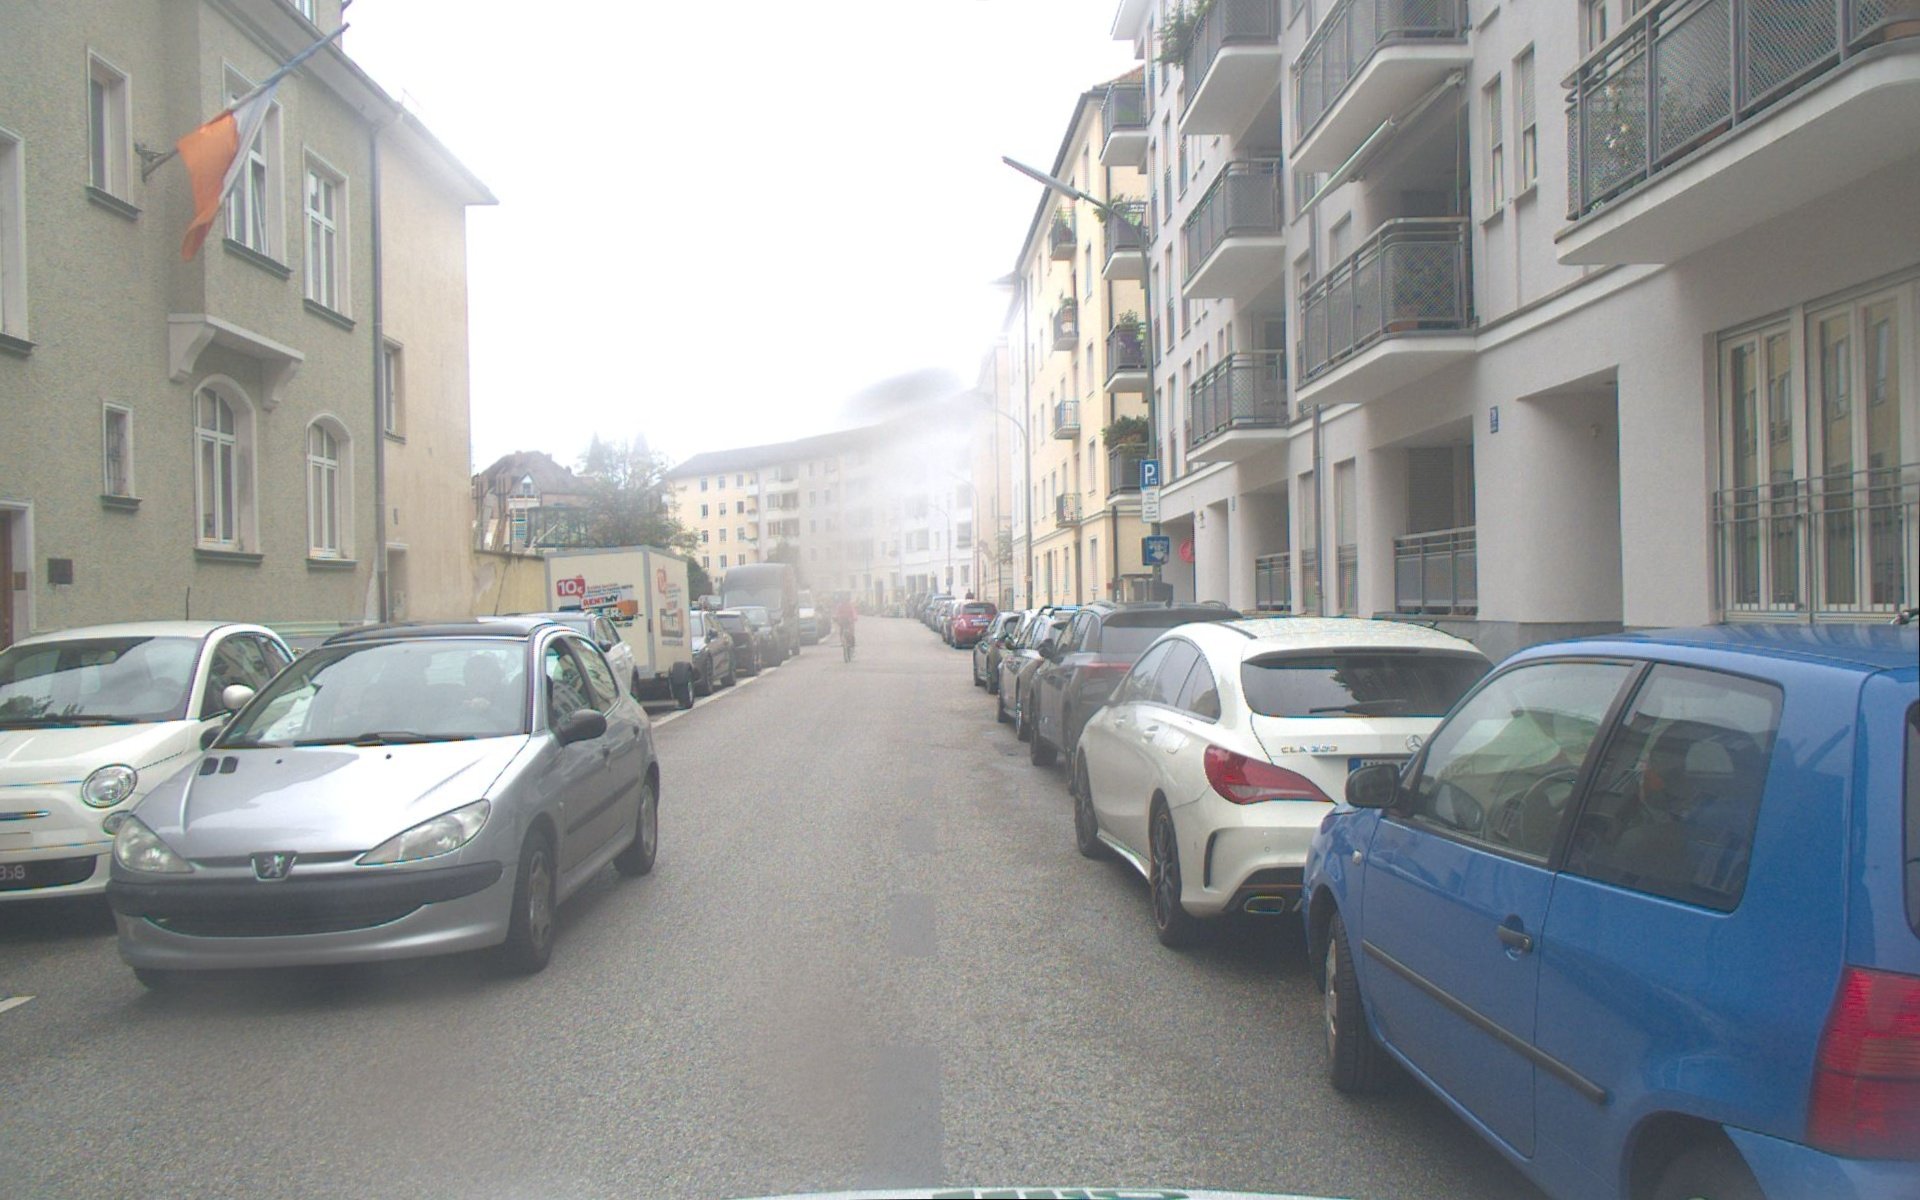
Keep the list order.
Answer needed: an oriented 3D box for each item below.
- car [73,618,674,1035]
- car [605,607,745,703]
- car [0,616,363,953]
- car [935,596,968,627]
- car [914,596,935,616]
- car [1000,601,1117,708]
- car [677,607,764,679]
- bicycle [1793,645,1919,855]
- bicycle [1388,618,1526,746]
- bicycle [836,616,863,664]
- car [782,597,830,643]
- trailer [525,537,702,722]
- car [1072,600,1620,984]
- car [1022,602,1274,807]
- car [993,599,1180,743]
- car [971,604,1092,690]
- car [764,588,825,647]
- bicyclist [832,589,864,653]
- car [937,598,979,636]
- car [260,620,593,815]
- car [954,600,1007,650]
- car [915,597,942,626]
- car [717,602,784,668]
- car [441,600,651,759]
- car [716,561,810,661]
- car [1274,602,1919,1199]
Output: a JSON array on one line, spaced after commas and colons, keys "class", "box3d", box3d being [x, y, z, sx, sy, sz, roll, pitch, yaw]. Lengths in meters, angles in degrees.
[{"class": "car", "box3d": [-2.414, 0.827, 7.738, 1.549, 1.436, 3.611, -2, -1, -1]}, {"class": "car", "box3d": [-5.252, 0.971, 31.034, 1.730, 1.565, 4.541, -3, 0, 1]}, {"class": "car", "box3d": [-4.621, 0.887, 9.280, 1.444, 1.492, 3.311, -3, 0, -3]}, {"class": "car", "box3d": [-0.457, 0.607, 89.315, 1.559, 1.610, 4.296, 0, 0, -3]}, {"class": "car", "box3d": [-2.392, 0.418, 110.997, 1.247, 1.321, 2.795, -1, 0, -4]}, {"class": "car", "box3d": [1.499, 0.806, 26.151, 1.489, 1.557, 3.524, 0, 0, -3]}, {"class": "car", "box3d": [-5.383, 0.923, 37.575, 1.667, 1.471, 3.821, 0, 1, -4]}, {"class": "bicycle", "box3d": [5.164, 0.763, 8.576, 0.664, 1.046, 1.833, -1, -2, -3]}, {"class": "bicycle", "box3d": [5.043, 0.800, 16.931, 0.615, 1.180, 2.126, -2, 0, -4]}, {"class": "bicycle", "box3d": [-2.836, 1.009, 42.487, 0.494, 1.148, 1.773, -2, 0, 1]}, {"class": "car", "box3d": [-6.238, 0.790, 67.356, 1.668, 1.720, 4.025, -3, 1, -3]}, {"class": "trailer", "box3d": [-5.185, 0.400, 25.320, 1.674, 2.504, 4.386, -3, 0, 0]}, {"class": "car", "box3d": [1.652, 0.753, 8.534, 1.625, 1.465, 4.204, 1, 0, -3]}, {"class": "car", "box3d": [1.536, 0.816, 14.795, 1.572, 1.557, 3.981, 1, 0, -3]}, {"class": "car", "box3d": [1.449, 0.782, 20.584, 1.699, 1.557, 4.618, 1, 0, -3]}, {"class": "car", "box3d": [1.241, 0.816, 30.273, 1.728, 1.432, 4.074, -1, 0, -5]}, {"class": "car", "box3d": [-6.002, 0.611, 60.382, 1.845, 1.965, 4.599, -3, 1, -2]}, {"class": "bicyclist", "box3d": [-2.873, 0.536, 42.454, 0.680, 1.589, 0.967, -2, 0, 1]}, {"class": "car", "box3d": [-0.103, 0.684, 70.027, 1.567, 1.517, 3.797, -1, 1, -3]}, {"class": "car", "box3d": [-4.704, 0.956, 15.277, 1.824, 1.437, 4.330, -3, -1, -3]}, {"class": "car", "box3d": [0.638, 0.785, 54.195, 1.563, 1.535, 3.799, -1, 0, -2]}, {"class": "car", "box3d": [-1.897, 0.652, 99.274, 1.444, 1.669, 3.998, 0, 0, -3]}, {"class": "car", "box3d": [-5.342, 0.888, 42.549, 1.555, 1.565, 3.539, -2, -1, -6]}, {"class": "car", "box3d": [-4.890, 0.865, 20.031, 1.653, 1.631, 3.919, -3, 0, -3]}, {"class": "car", "box3d": [-5.596, 0.274, 47.707, 2.045, 2.682, 5.376, -1, 1, 0]}, {"class": "car", "box3d": [2.024, 0.749, 4.129, 1.587, 1.437, 3.551, 1, -1, -4]}]
